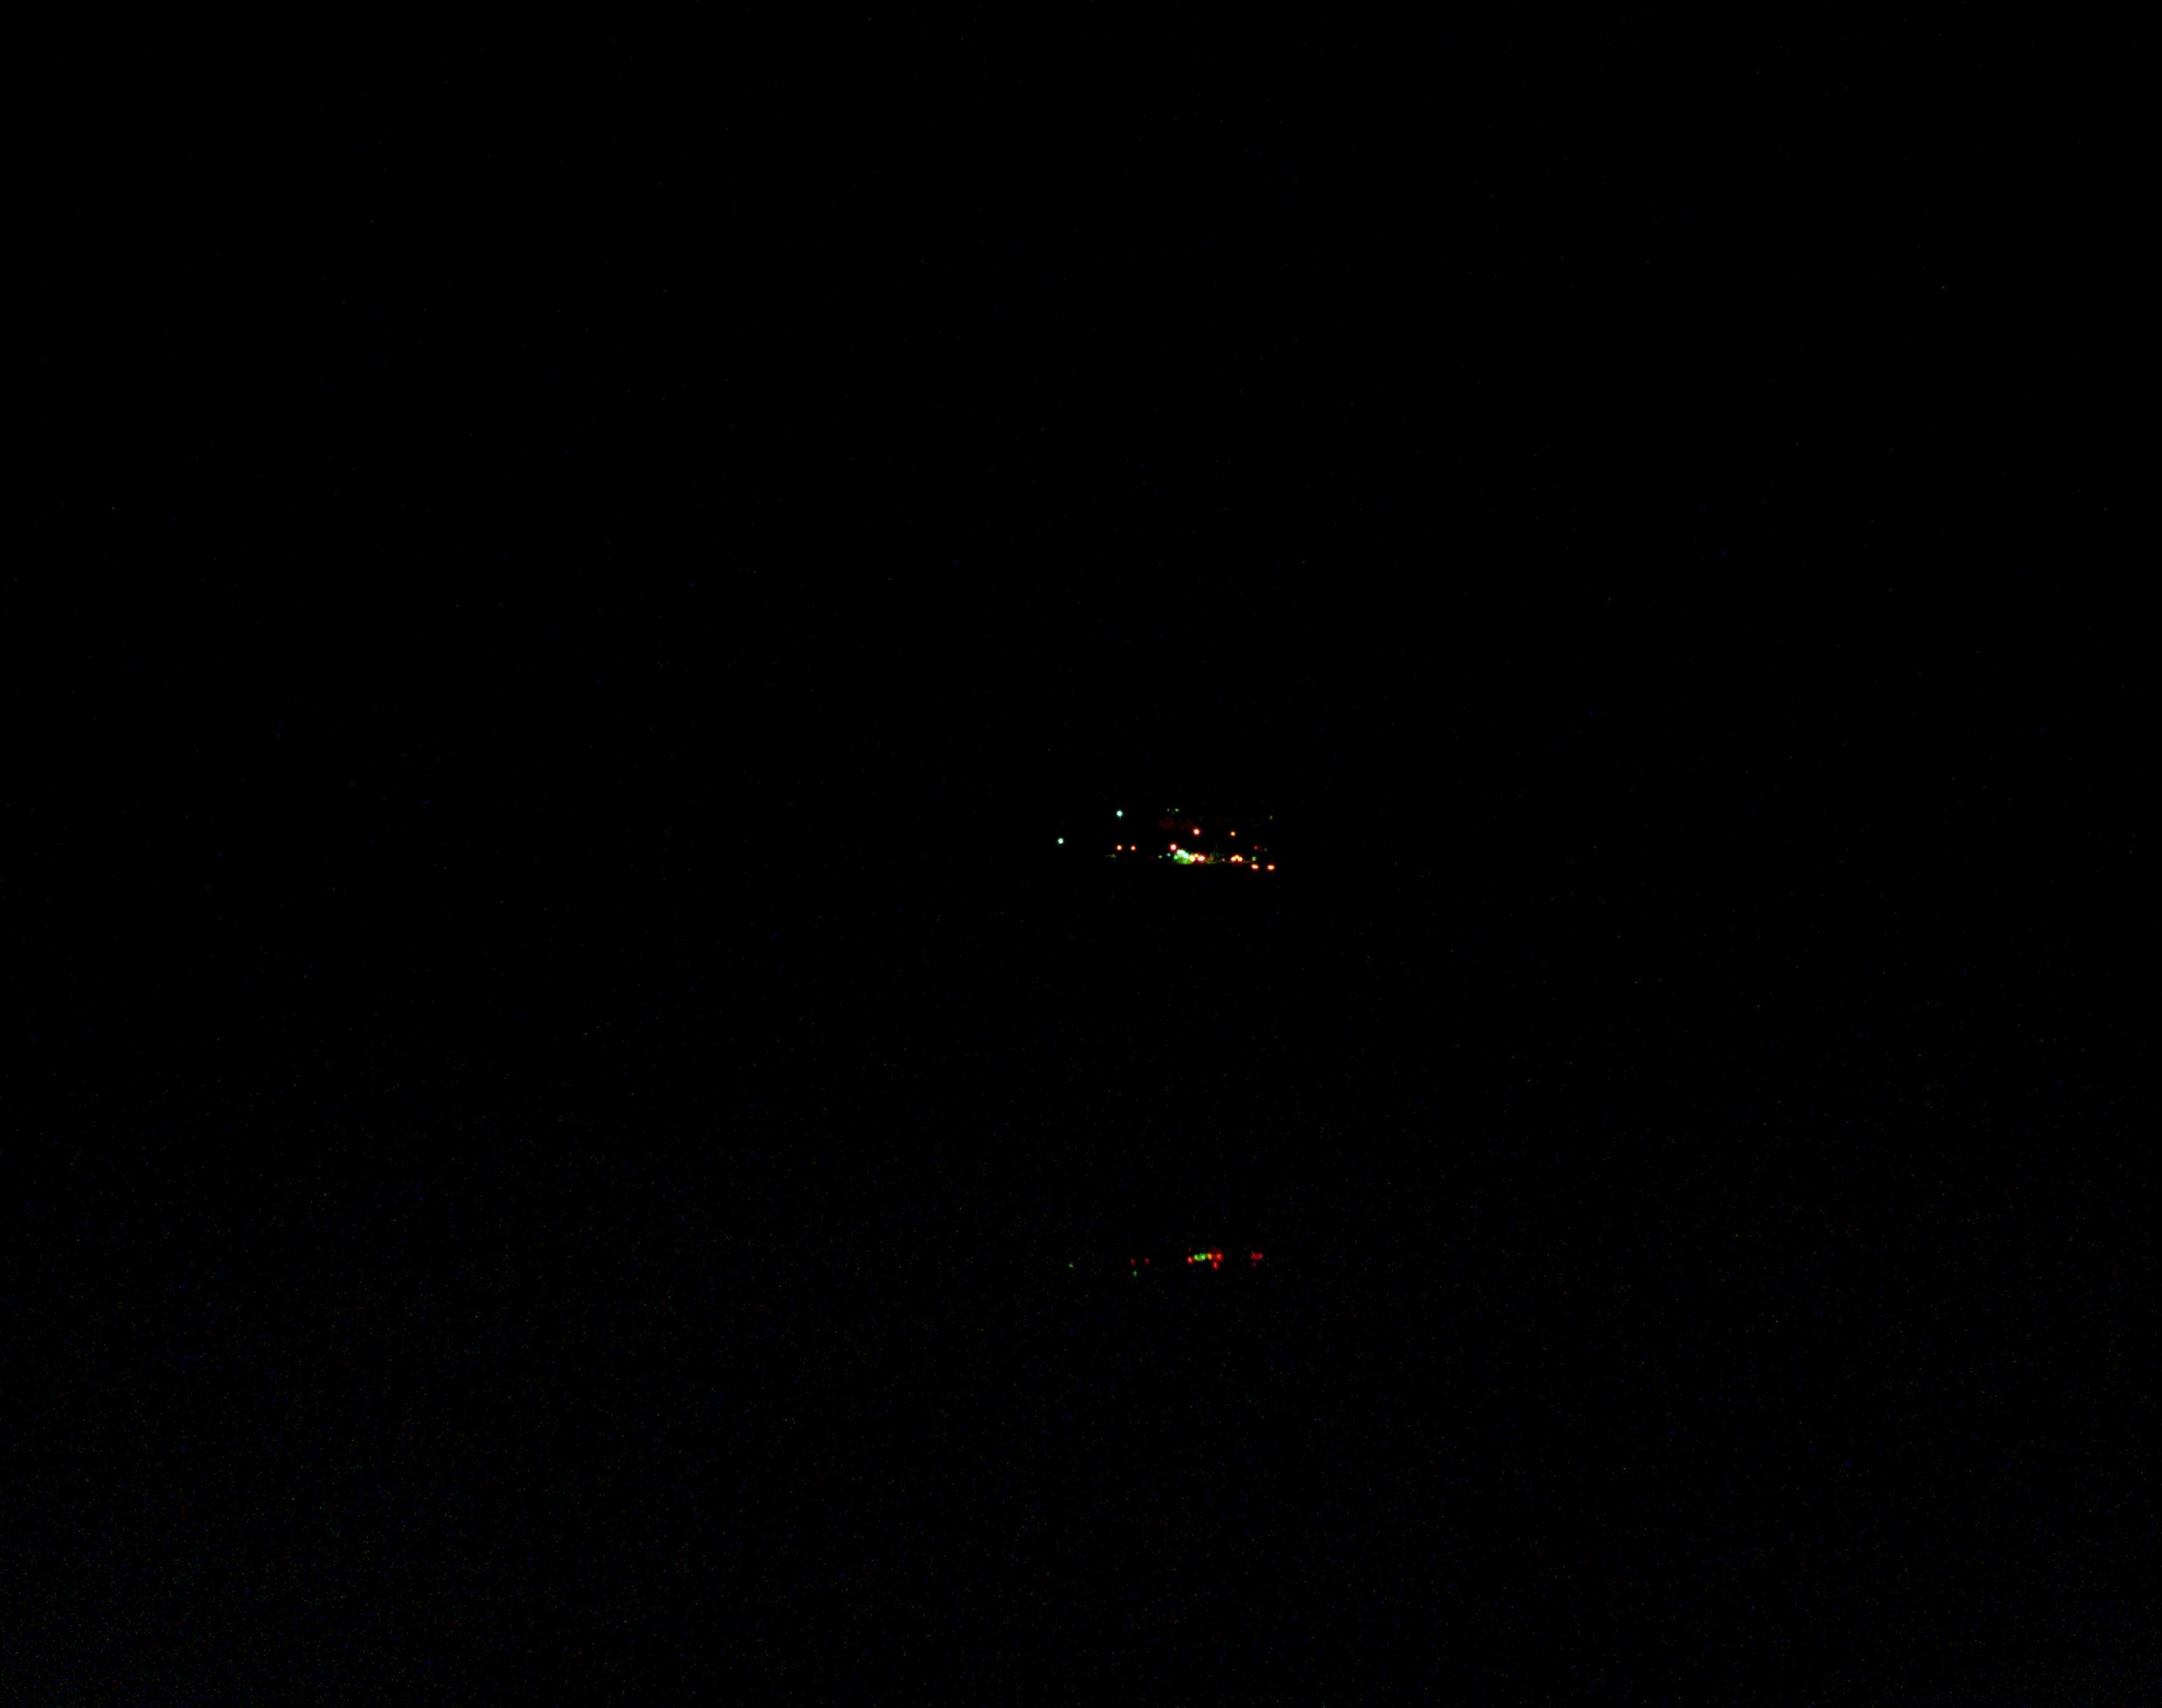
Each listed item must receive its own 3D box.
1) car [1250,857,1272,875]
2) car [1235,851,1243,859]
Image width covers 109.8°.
[{"bbox_3d":[15.951,1.027,67.372,1.723,1.438,4.385,-2,1,12],"label":"car"},{"bbox_3d":[33.604,0.222,161.567,1.655,1.467,4.003,-2,1,11],"label":"car"}]
